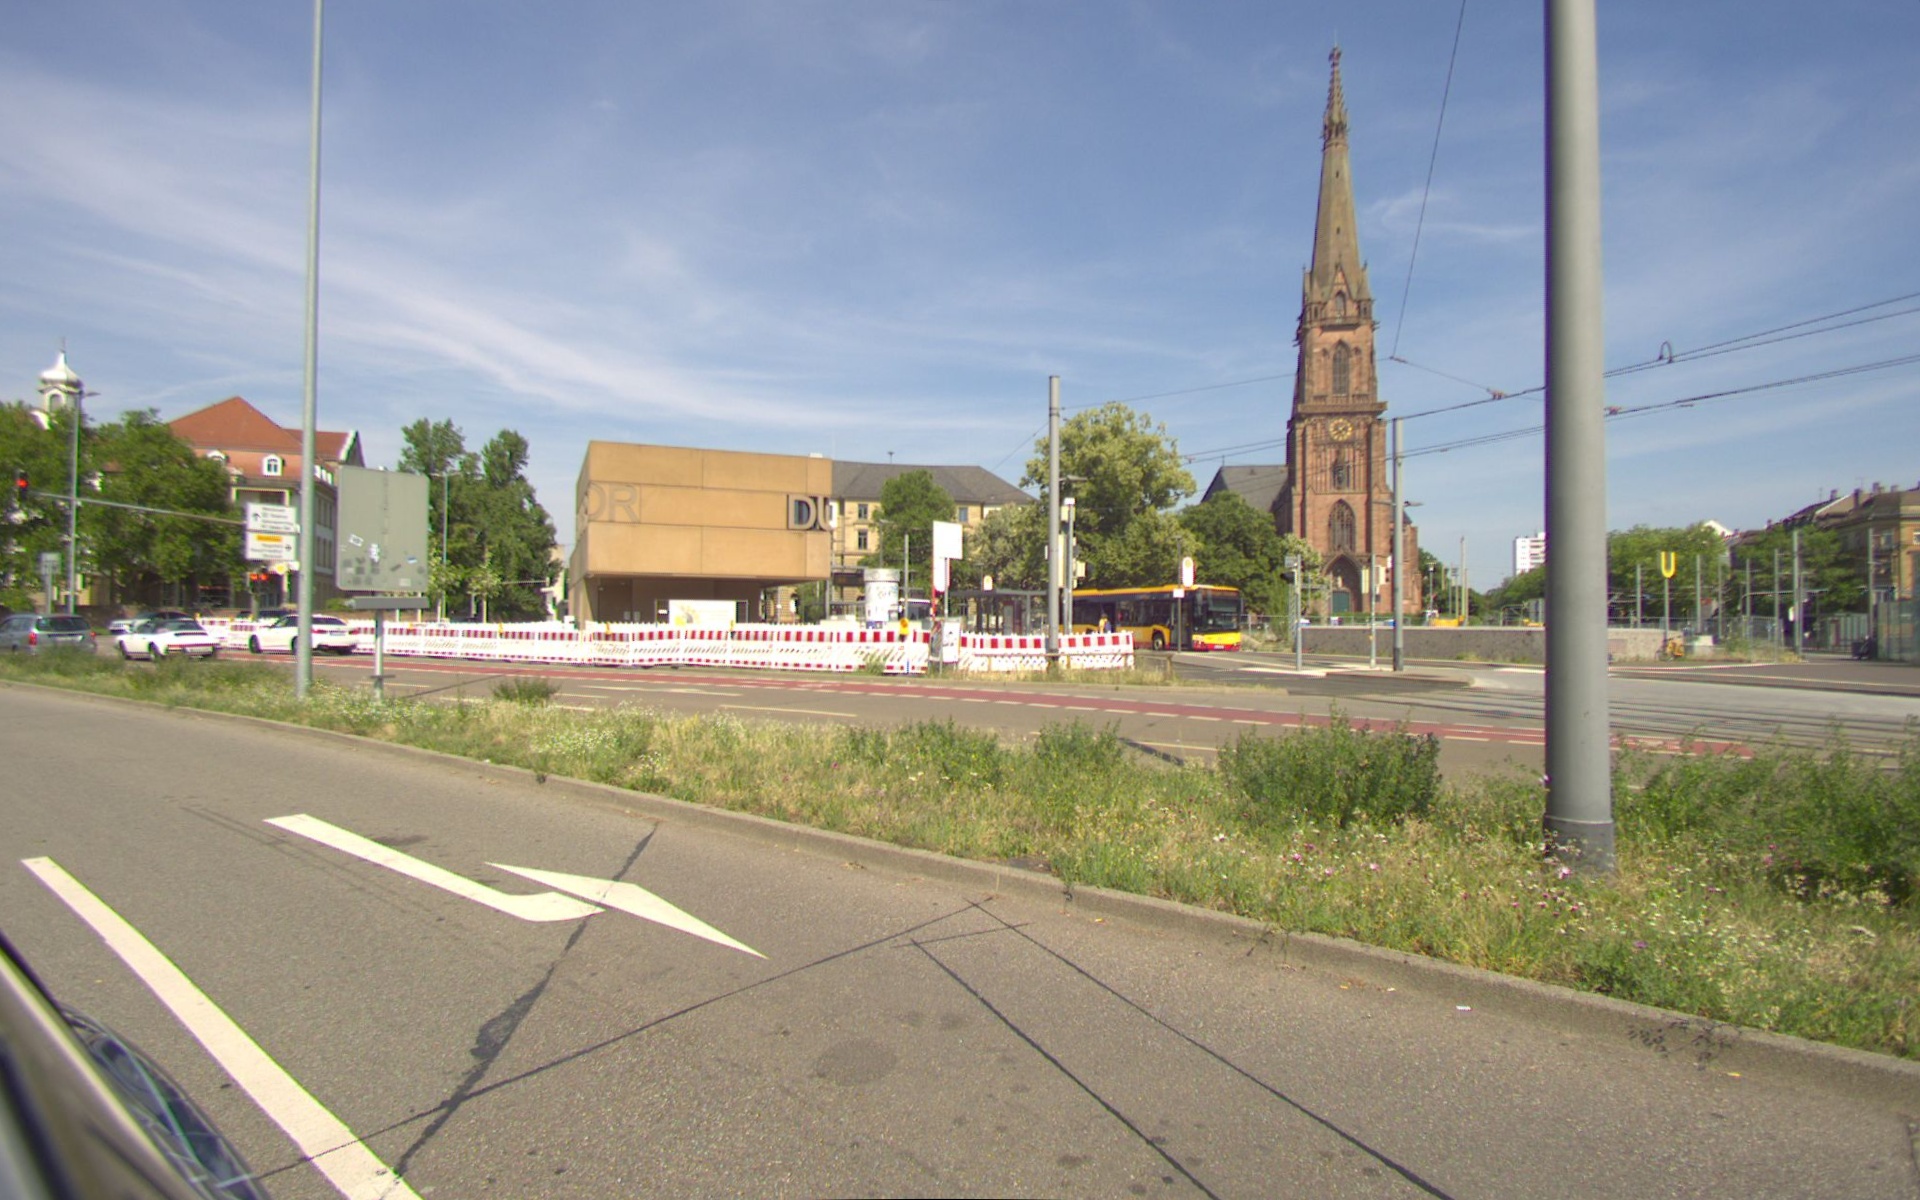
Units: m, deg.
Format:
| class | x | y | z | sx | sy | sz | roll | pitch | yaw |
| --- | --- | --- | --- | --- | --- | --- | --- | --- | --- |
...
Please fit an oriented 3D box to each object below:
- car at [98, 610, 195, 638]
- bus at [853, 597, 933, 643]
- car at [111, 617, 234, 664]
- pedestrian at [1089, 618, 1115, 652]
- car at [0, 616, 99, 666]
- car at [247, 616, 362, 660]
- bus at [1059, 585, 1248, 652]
| class | x | y | z | sx | sy | sz | roll | pitch | yaw |
| --- | --- | --- | --- | --- | --- | --- | --- | --- | --- |
| car | -46.310 | 1.347 | 57.711 | 1.743 | 1.454 | 4.093 | 0 | 0 | 15 |
| bus | -5.550 | 1.628 | 80.879 | 2.710 | 3.348 | 11.827 | 1 | -2 | -22 |
| car | -24.176 | 1.203 | 31.032 | 3.983 | 1.296 | 1.583 | 0 | 0 | 30 |
| pedestrian | 5.825 | 1.421 | 41.576 | 0.911 | 1.377 | 0.532 | 0 | 0 | 41 |
| car | -26.423 | 1.121 | 28.885 | 3.983 | 1.296 | 1.583 | 0 | 0 | 30 |
| car | -23.188 | 1.300 | 35.783 | 3.983 | 1.431 | 1.785 | 0 | 0 | 30 |
| bus | 8.595 | 0.733 | 47.403 | 2.711 | 2.703 | 11.828 | -1 | 0 | -22 |
